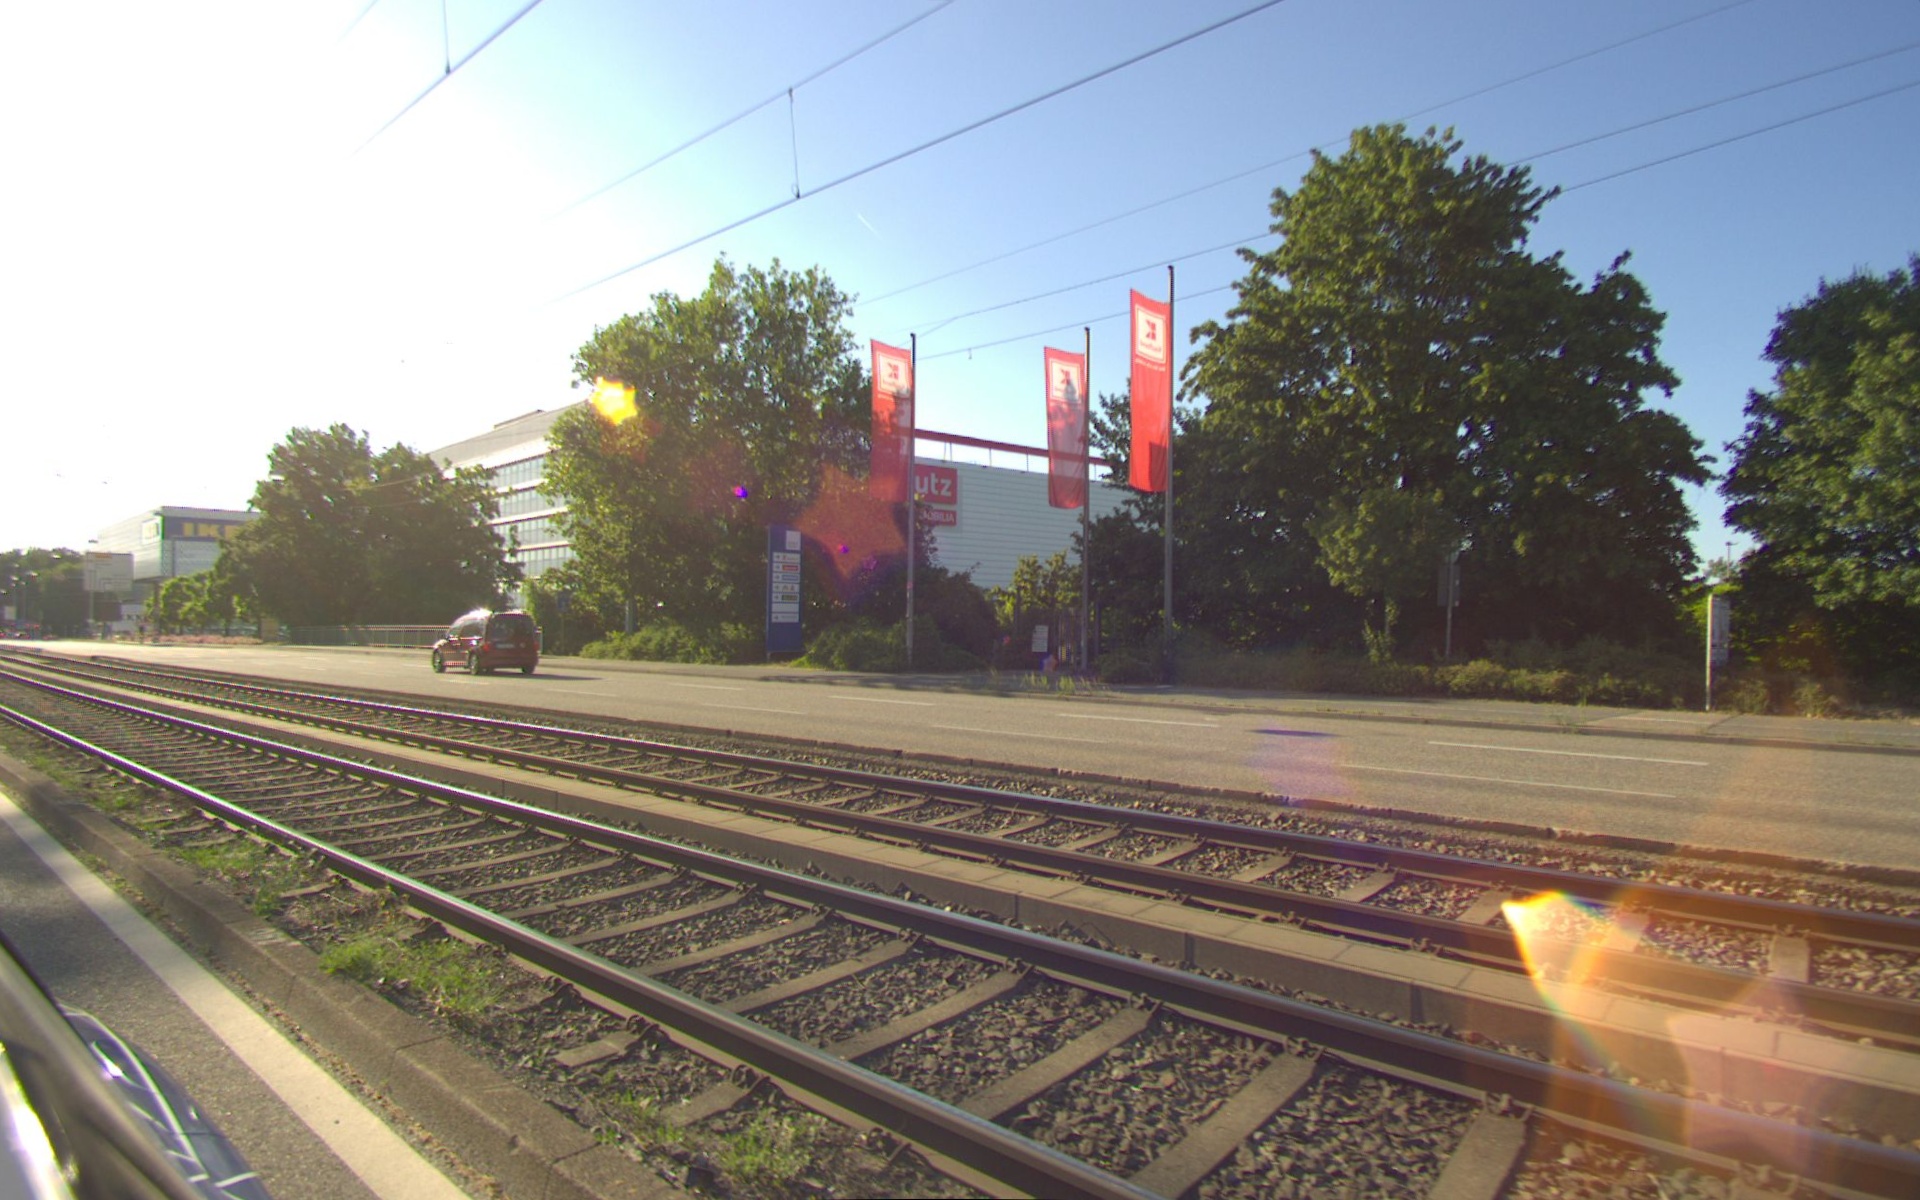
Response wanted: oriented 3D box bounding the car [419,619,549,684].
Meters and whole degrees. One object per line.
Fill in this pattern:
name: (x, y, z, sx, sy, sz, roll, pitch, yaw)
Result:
car: (-14.389, 1.503, 30.514, 4.348, 1.809, 1.972, -1, -3, 41)
